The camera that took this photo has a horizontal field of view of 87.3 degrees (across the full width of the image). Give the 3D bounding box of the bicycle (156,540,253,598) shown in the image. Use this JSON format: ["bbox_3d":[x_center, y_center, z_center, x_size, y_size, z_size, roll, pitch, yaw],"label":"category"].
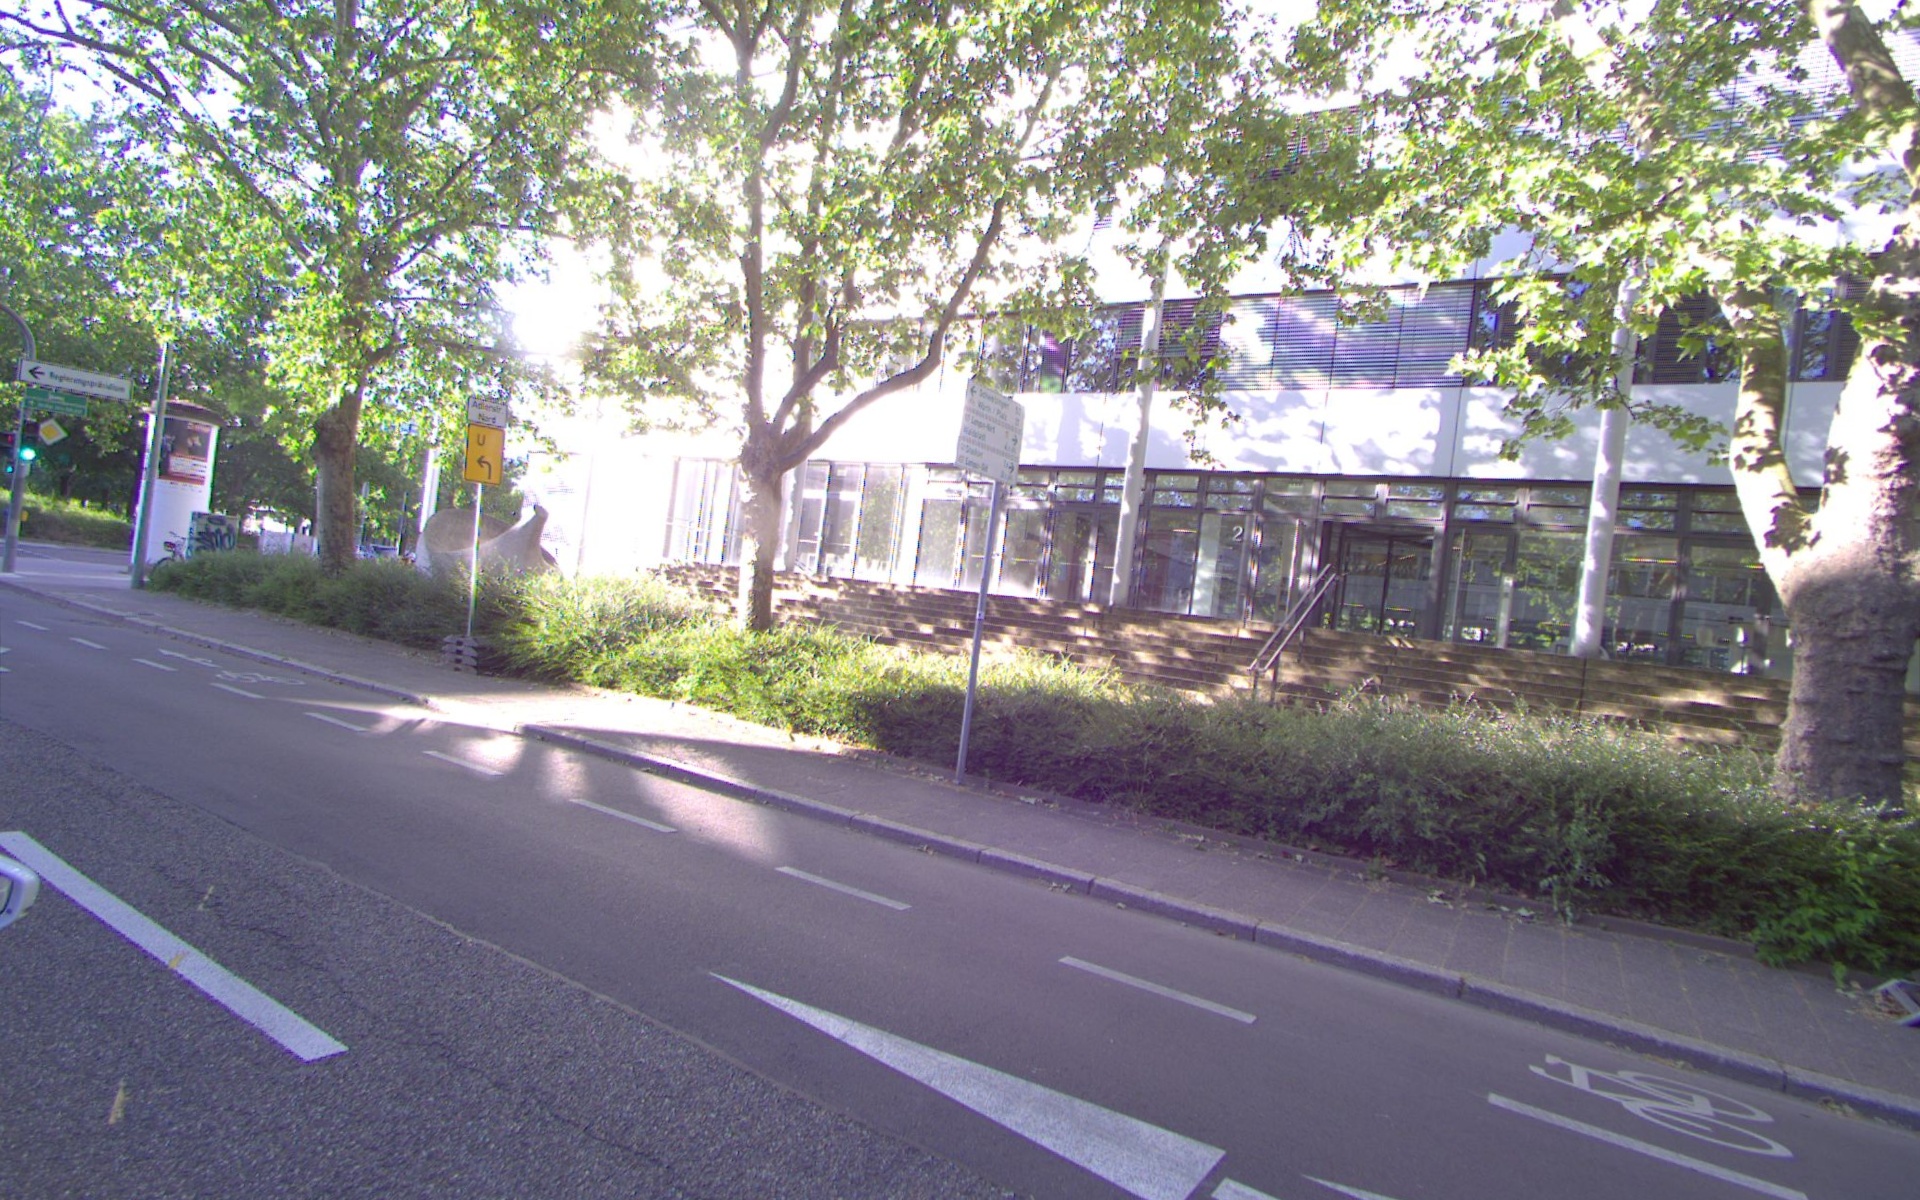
[{"bbox_3d":[-15.920,-0.634,21.257,0.631,1.040,1.887,7,-2,-5],"label":"bicycle"}]
